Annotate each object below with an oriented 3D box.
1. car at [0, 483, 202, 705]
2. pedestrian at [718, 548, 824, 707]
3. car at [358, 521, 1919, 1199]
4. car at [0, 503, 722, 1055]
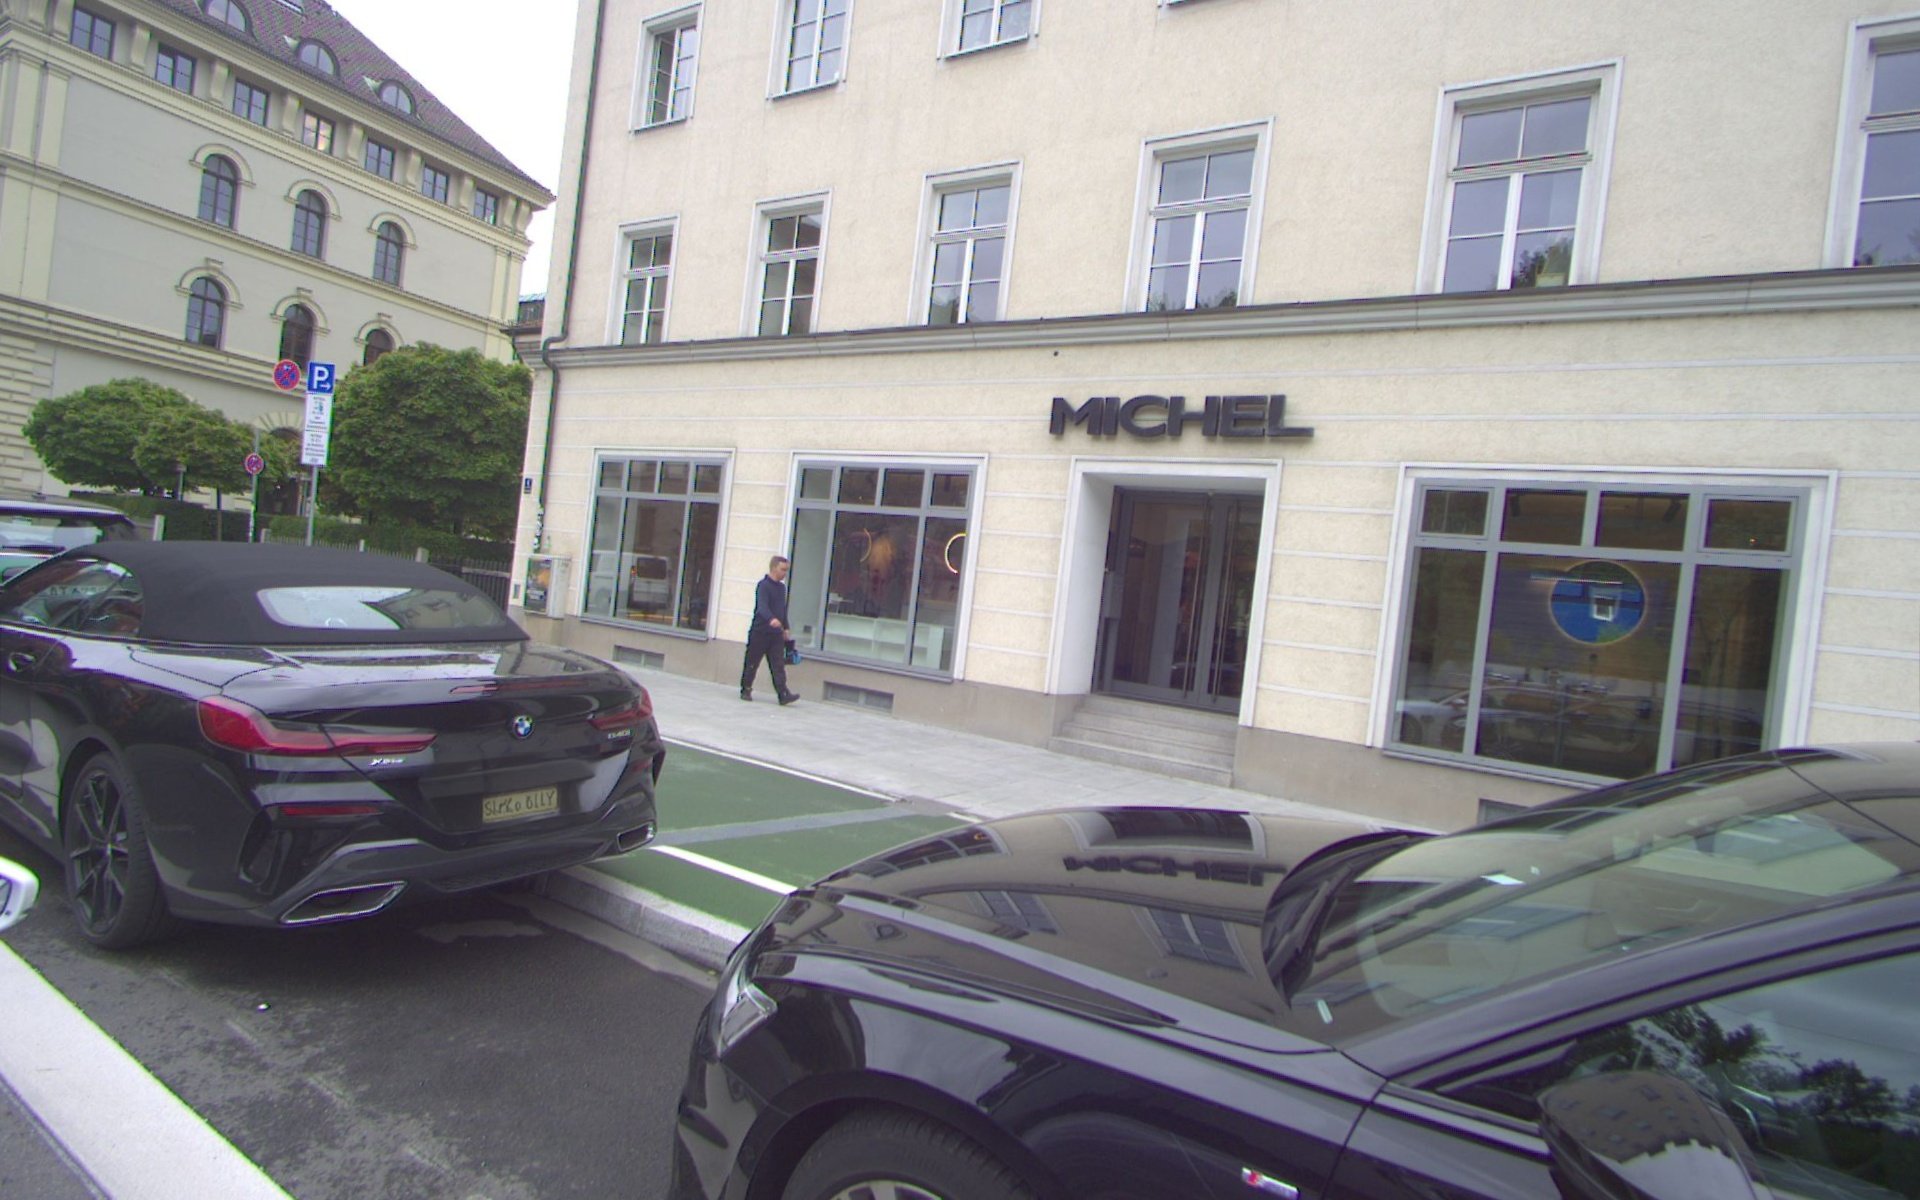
[{"bbox_3d":[-7.789,-0.181,8.027,3.368,1.514,1.612,7,0,32],"label":"car"},{"bbox_3d":[-2.363,0.348,12.608,0.764,1.859,0.791,8,1,33],"label":"pedestrian"},{"bbox_3d":[1.271,0.894,1.683,4.607,1.498,1.805,7,0,30],"label":"car"},{"bbox_3d":[-3.343,0.419,4.658,4.353,1.402,1.683,7,-1,32],"label":"car"}]
